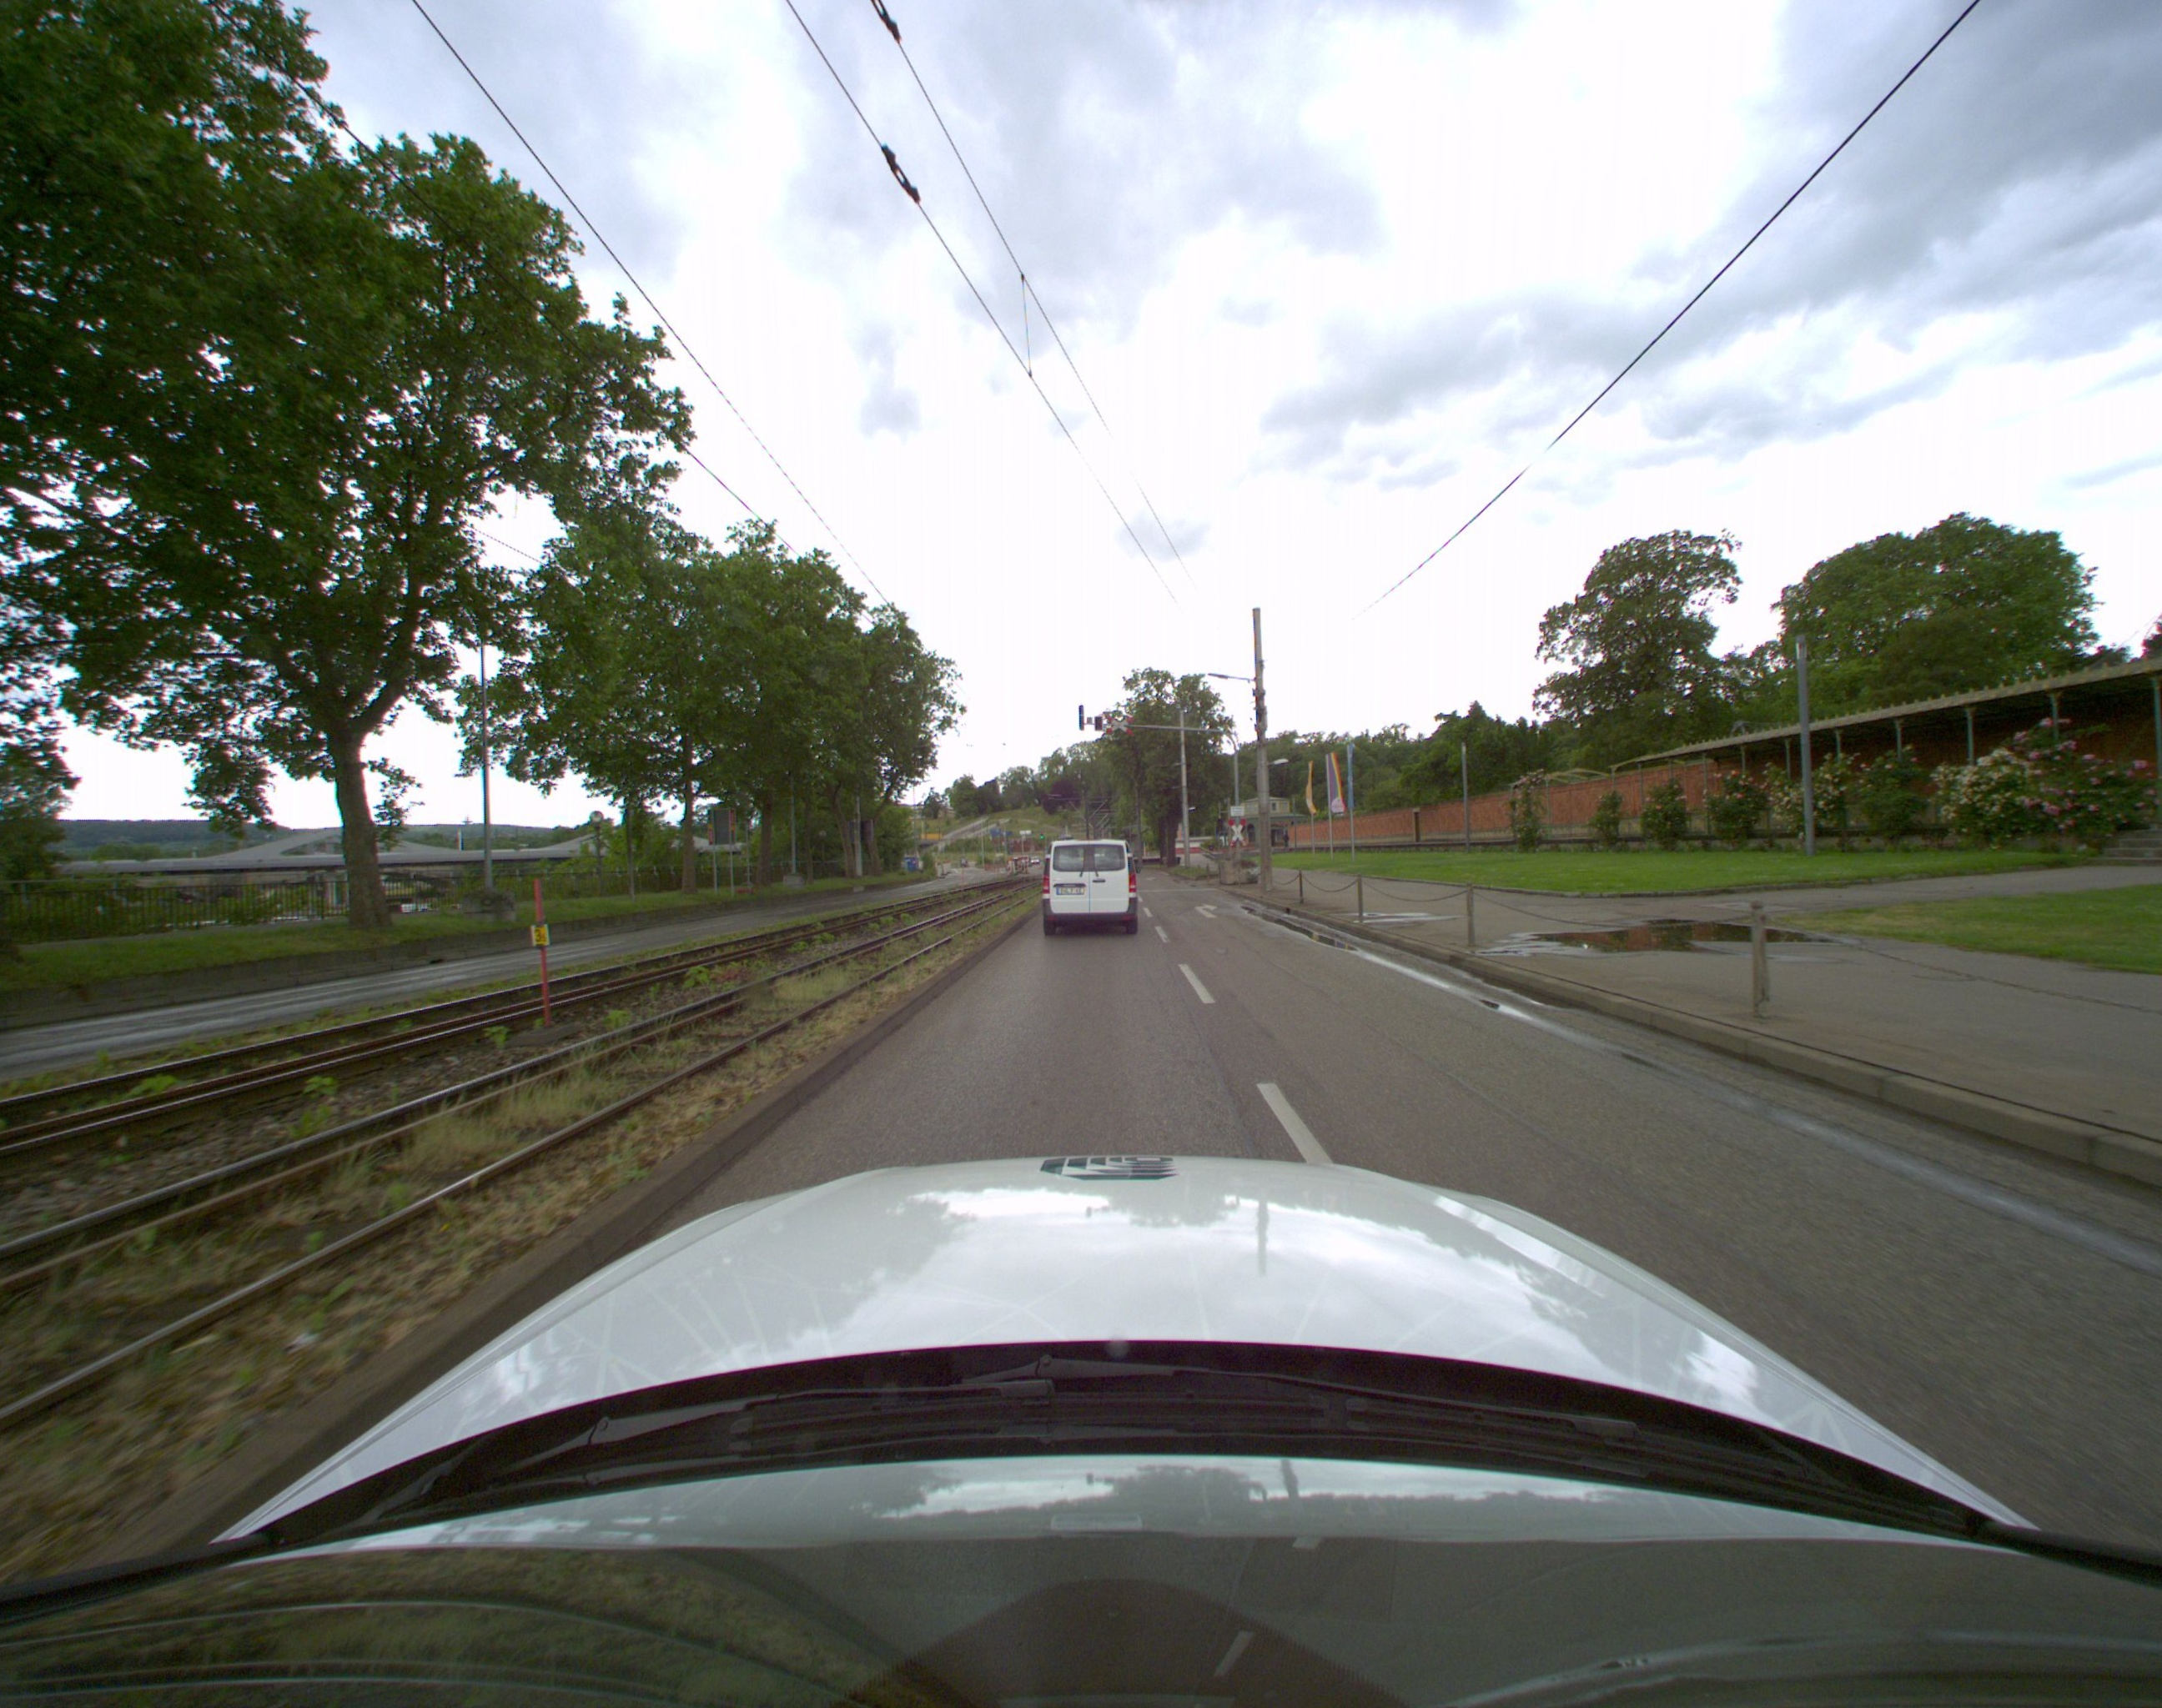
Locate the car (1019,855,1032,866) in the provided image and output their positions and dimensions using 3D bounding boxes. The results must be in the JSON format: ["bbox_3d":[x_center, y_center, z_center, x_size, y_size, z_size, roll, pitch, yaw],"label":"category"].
[{"bbox_3d":[-8.975,1.062,132.257,1.746,1.772,4.001,-1,-1,1],"label":"car"}]

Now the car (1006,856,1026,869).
[{"bbox_3d":[-7.496,0.966,93.581,1.838,1.467,4.048,-1,-1,-10],"label":"car"}]

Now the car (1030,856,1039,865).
[{"bbox_3d":[-10.781,1.533,189.761,1.929,2.014,3.997,-1,-1,-2],"label":"car"}]

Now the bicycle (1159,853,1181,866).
[{"bbox_3d":[8.312,0.503,75.837,1.981,1.158,0.742,-3,-1,6],"label":"bicycle"}]

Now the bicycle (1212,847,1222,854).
[{"bbox_3d":[22.346,-0.579,133.806,0.565,1.061,1.700,0,-1,-28],"label":"bicycle"}]

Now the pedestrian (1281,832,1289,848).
[{"bbox_3d":[24.488,-1.699,97.696,0.943,1.838,0.551,-1,-1,12],"label":"pedestrian"}]

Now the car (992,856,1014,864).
[{"bbox_3d":[-18.404,1.473,192.708,4.677,1.477,2.007,-4,0,12],"label":"car"}]

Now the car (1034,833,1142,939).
[{"bbox_3d":[0.194,0.604,17.232,1.952,1.904,4.463,-1,-1,2],"label":"car"}]

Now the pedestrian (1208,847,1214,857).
[{"bbox_3d":[15.163,-0.228,95.048,0.547,1.201,0.668,-1,-1,-4],"label":"pedestrian"}]
